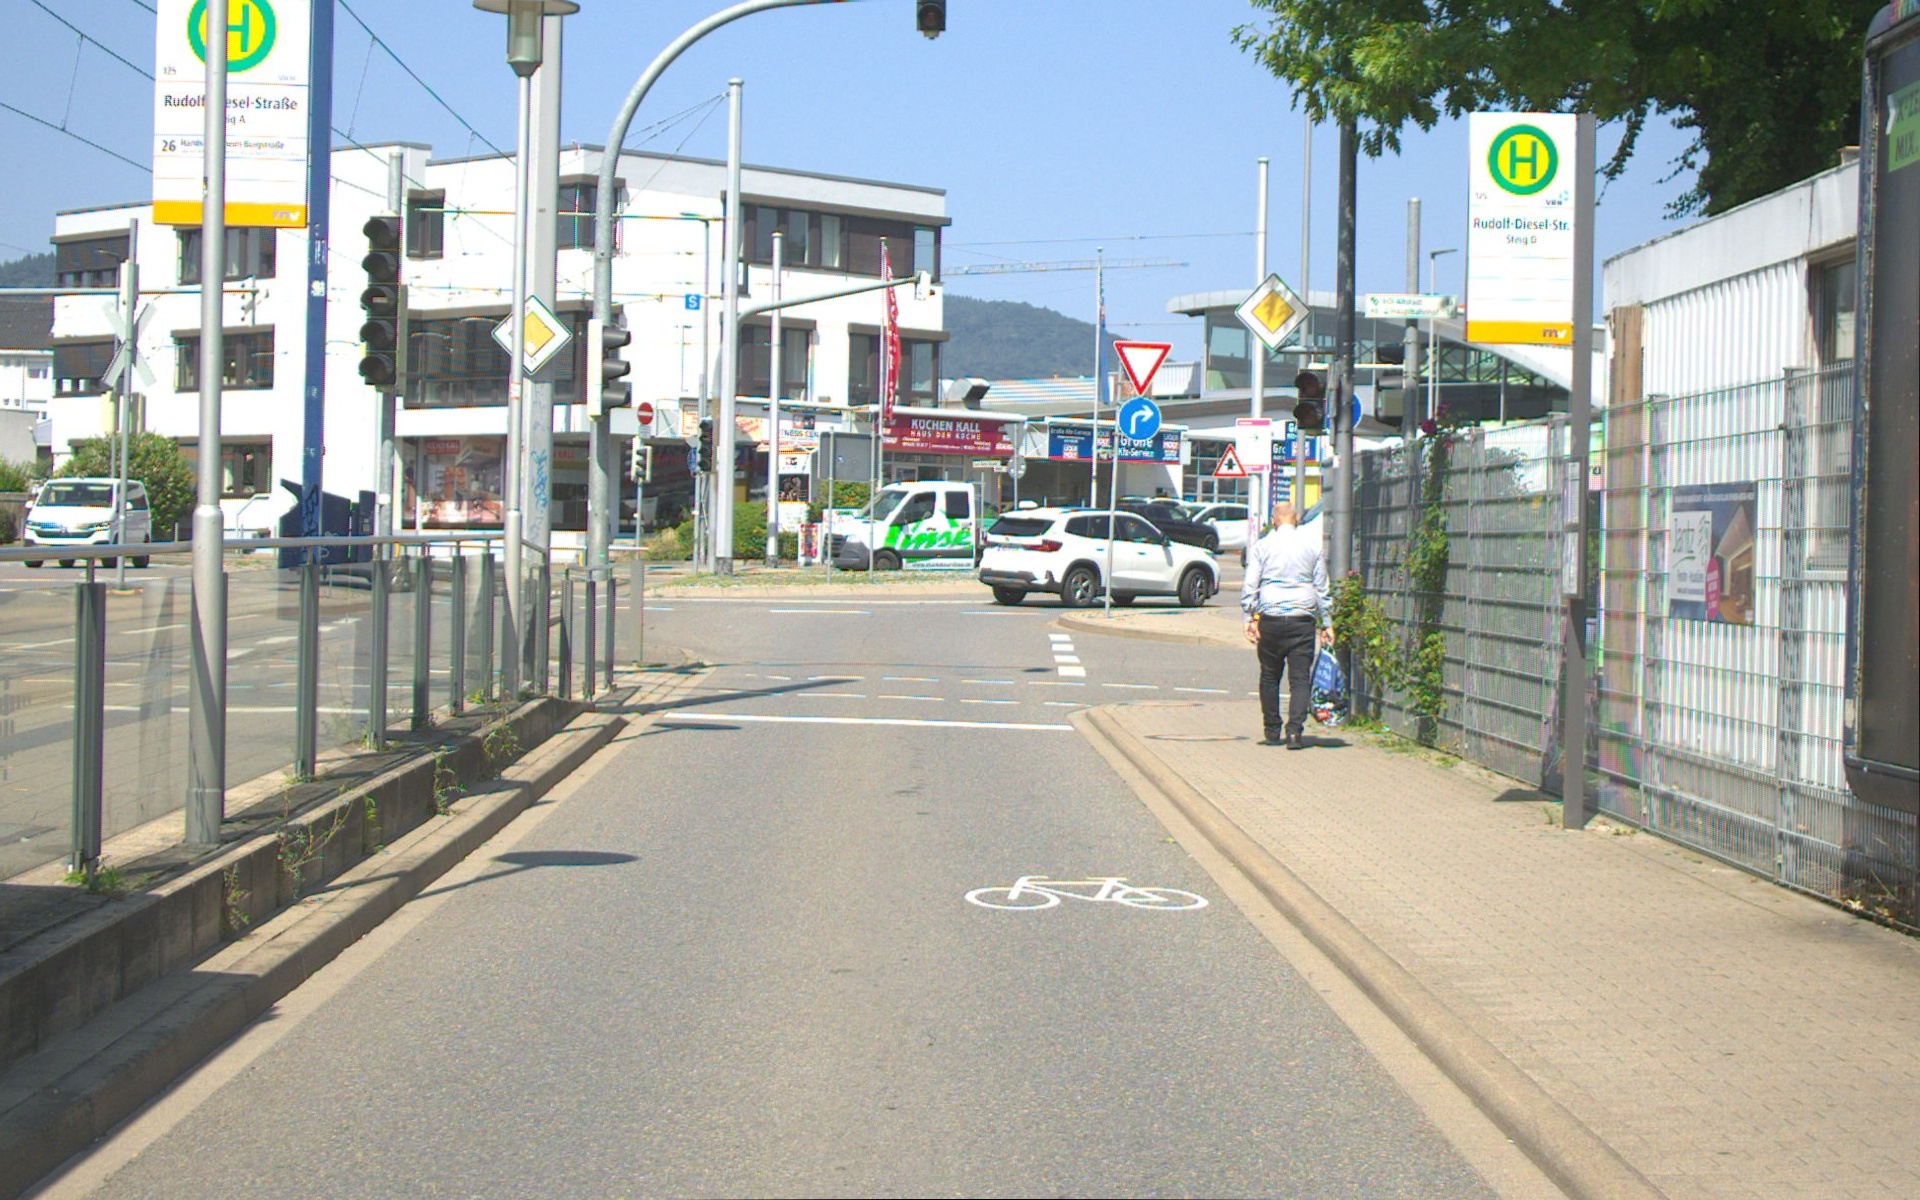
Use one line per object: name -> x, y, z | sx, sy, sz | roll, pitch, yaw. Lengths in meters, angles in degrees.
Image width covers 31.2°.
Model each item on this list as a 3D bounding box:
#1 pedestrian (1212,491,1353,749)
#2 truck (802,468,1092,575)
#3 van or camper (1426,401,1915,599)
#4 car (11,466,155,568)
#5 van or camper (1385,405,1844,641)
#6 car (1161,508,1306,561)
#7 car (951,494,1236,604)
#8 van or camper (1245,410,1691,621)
pedestrian -> 2.151, 0.120, 23.012 | 0.812, 1.693, 0.887 | 0, 1, -3
truck -> -0.291, -1.823, 80.143 | 6.367, 2.329, 2.210 | 1, 2, -25
van or camper -> 10.907, -1.536, 53.162 | 7.061, 2.936, 2.335 | -1, 1, 0
car -> -18.999, -1.769, 74.684 | 2.162, 2.007, 5.019 | 2, 0, -5
van or camper -> 8.357, -1.029, 44.329 | 5.507, 2.804, 2.048 | 2, 3, 4
car -> 8.568, -2.018, 107.520 | 1.885, 1.583, 4.916 | 0, 0, 43
car -> 2.239, -0.835, 56.929 | 4.551, 1.727, 1.999 | 0, 2, -41
van or camper -> 6.890, -1.174, 47.130 | 5.811, 2.764, 2.091 | 1, 2, 2
